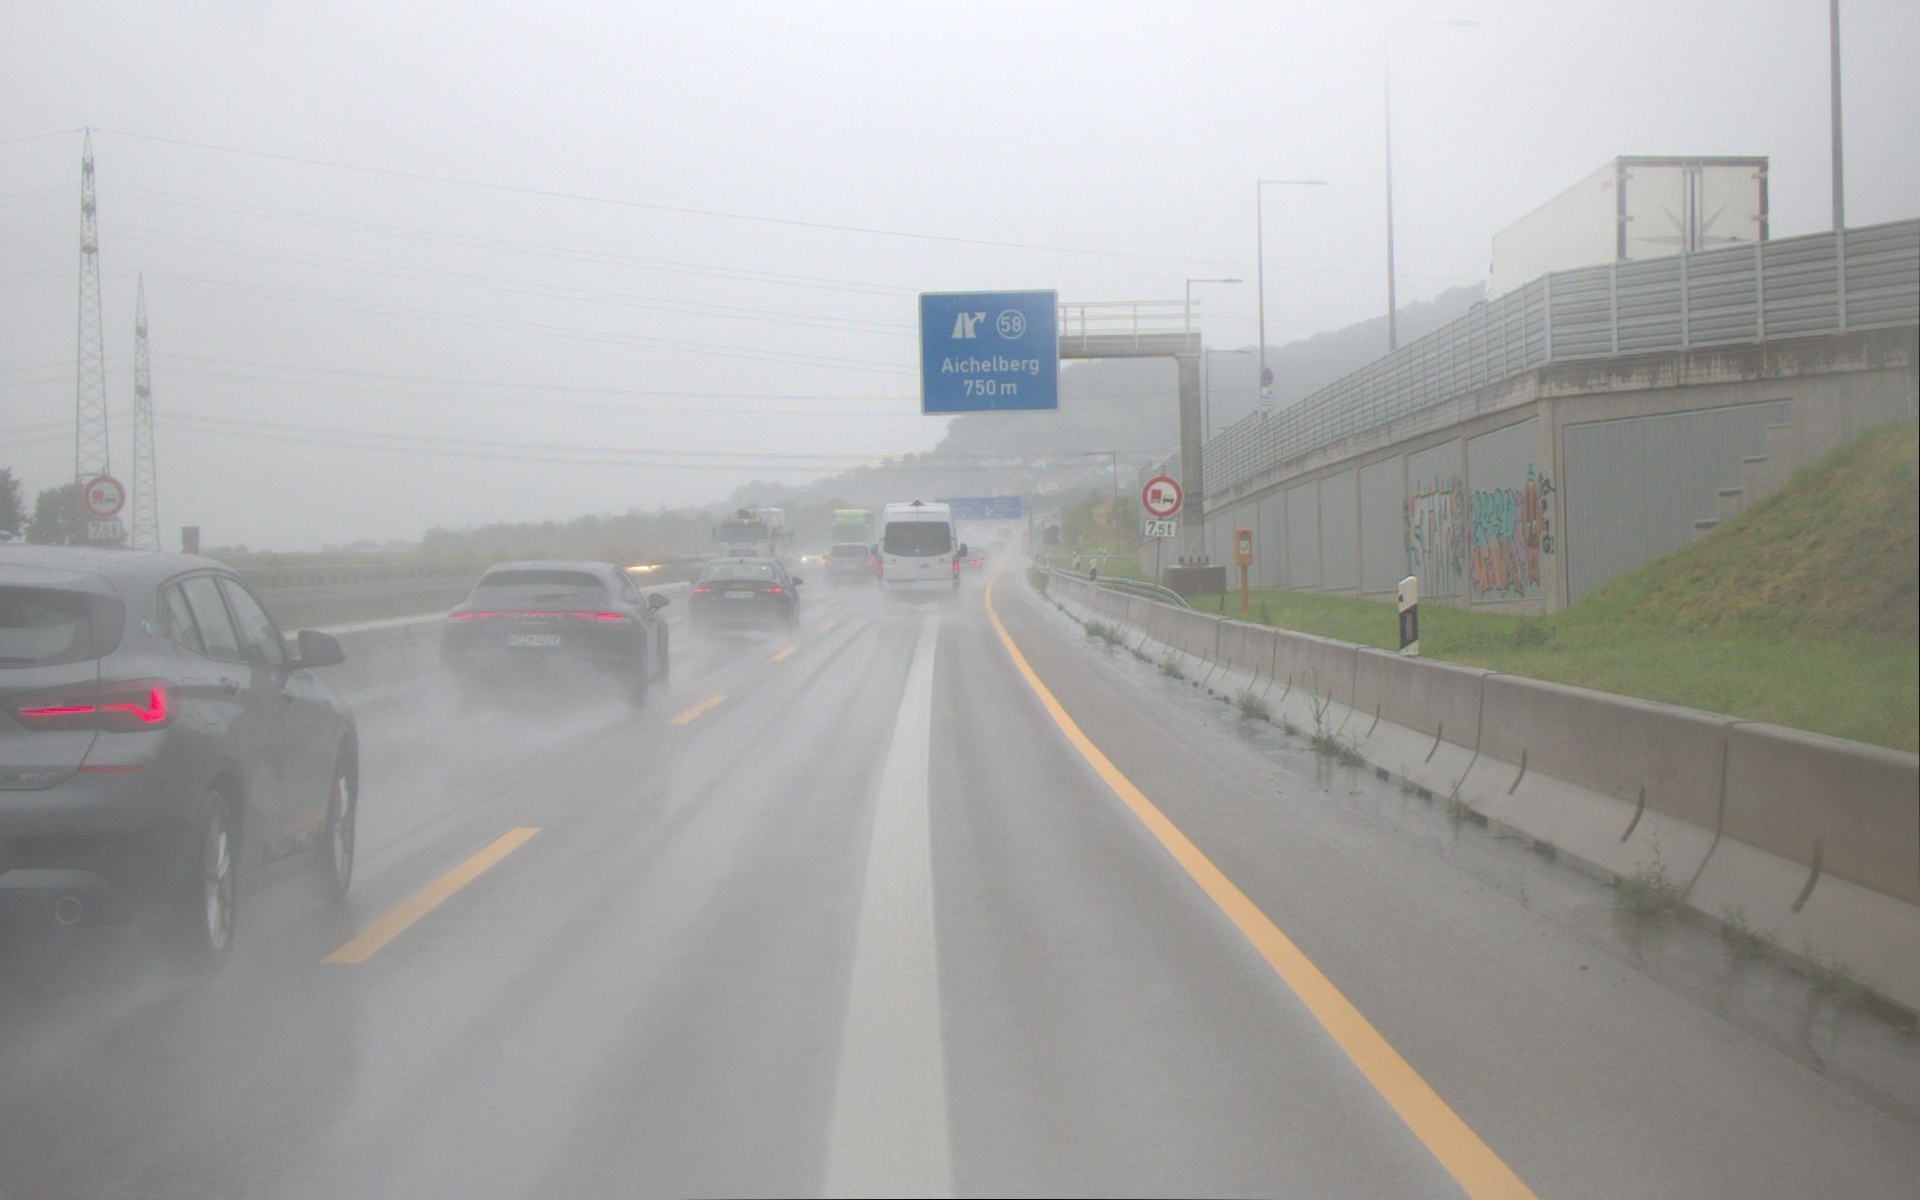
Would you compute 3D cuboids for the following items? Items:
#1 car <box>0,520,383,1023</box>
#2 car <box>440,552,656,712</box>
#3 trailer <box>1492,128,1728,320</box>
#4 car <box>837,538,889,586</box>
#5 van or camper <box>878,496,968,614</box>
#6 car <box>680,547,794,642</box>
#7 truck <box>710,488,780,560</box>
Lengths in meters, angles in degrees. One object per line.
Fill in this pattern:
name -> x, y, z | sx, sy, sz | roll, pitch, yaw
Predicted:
car -> -3.368, 0.551, 13.297 | 1.700, 1.592, 4.845 | 0, 0, -3
car -> -4.022, 0.309, 34.113 | 1.844, 1.486, 4.262 | 0, 0, -3
trailer -> 12.141, -6.974, 65.474 | 1.993, 2.099, 13.768 | 0, 0, 0
car -> -3.300, -1.273, 116.414 | 1.566, 1.475, 2.822 | -3, 0, -4
van or camper -> -0.906, -1.041, 82.838 | 1.996, 2.768, 4.050 | 0, 0, -3
car -> -3.834, -0.123, 59.479 | 1.844, 1.486, 4.262 | -3, 1, -3
truck -> -10.181, -3.606, 163.369 | 2.639, 3.336, 9.553 | 0, 1, 0
